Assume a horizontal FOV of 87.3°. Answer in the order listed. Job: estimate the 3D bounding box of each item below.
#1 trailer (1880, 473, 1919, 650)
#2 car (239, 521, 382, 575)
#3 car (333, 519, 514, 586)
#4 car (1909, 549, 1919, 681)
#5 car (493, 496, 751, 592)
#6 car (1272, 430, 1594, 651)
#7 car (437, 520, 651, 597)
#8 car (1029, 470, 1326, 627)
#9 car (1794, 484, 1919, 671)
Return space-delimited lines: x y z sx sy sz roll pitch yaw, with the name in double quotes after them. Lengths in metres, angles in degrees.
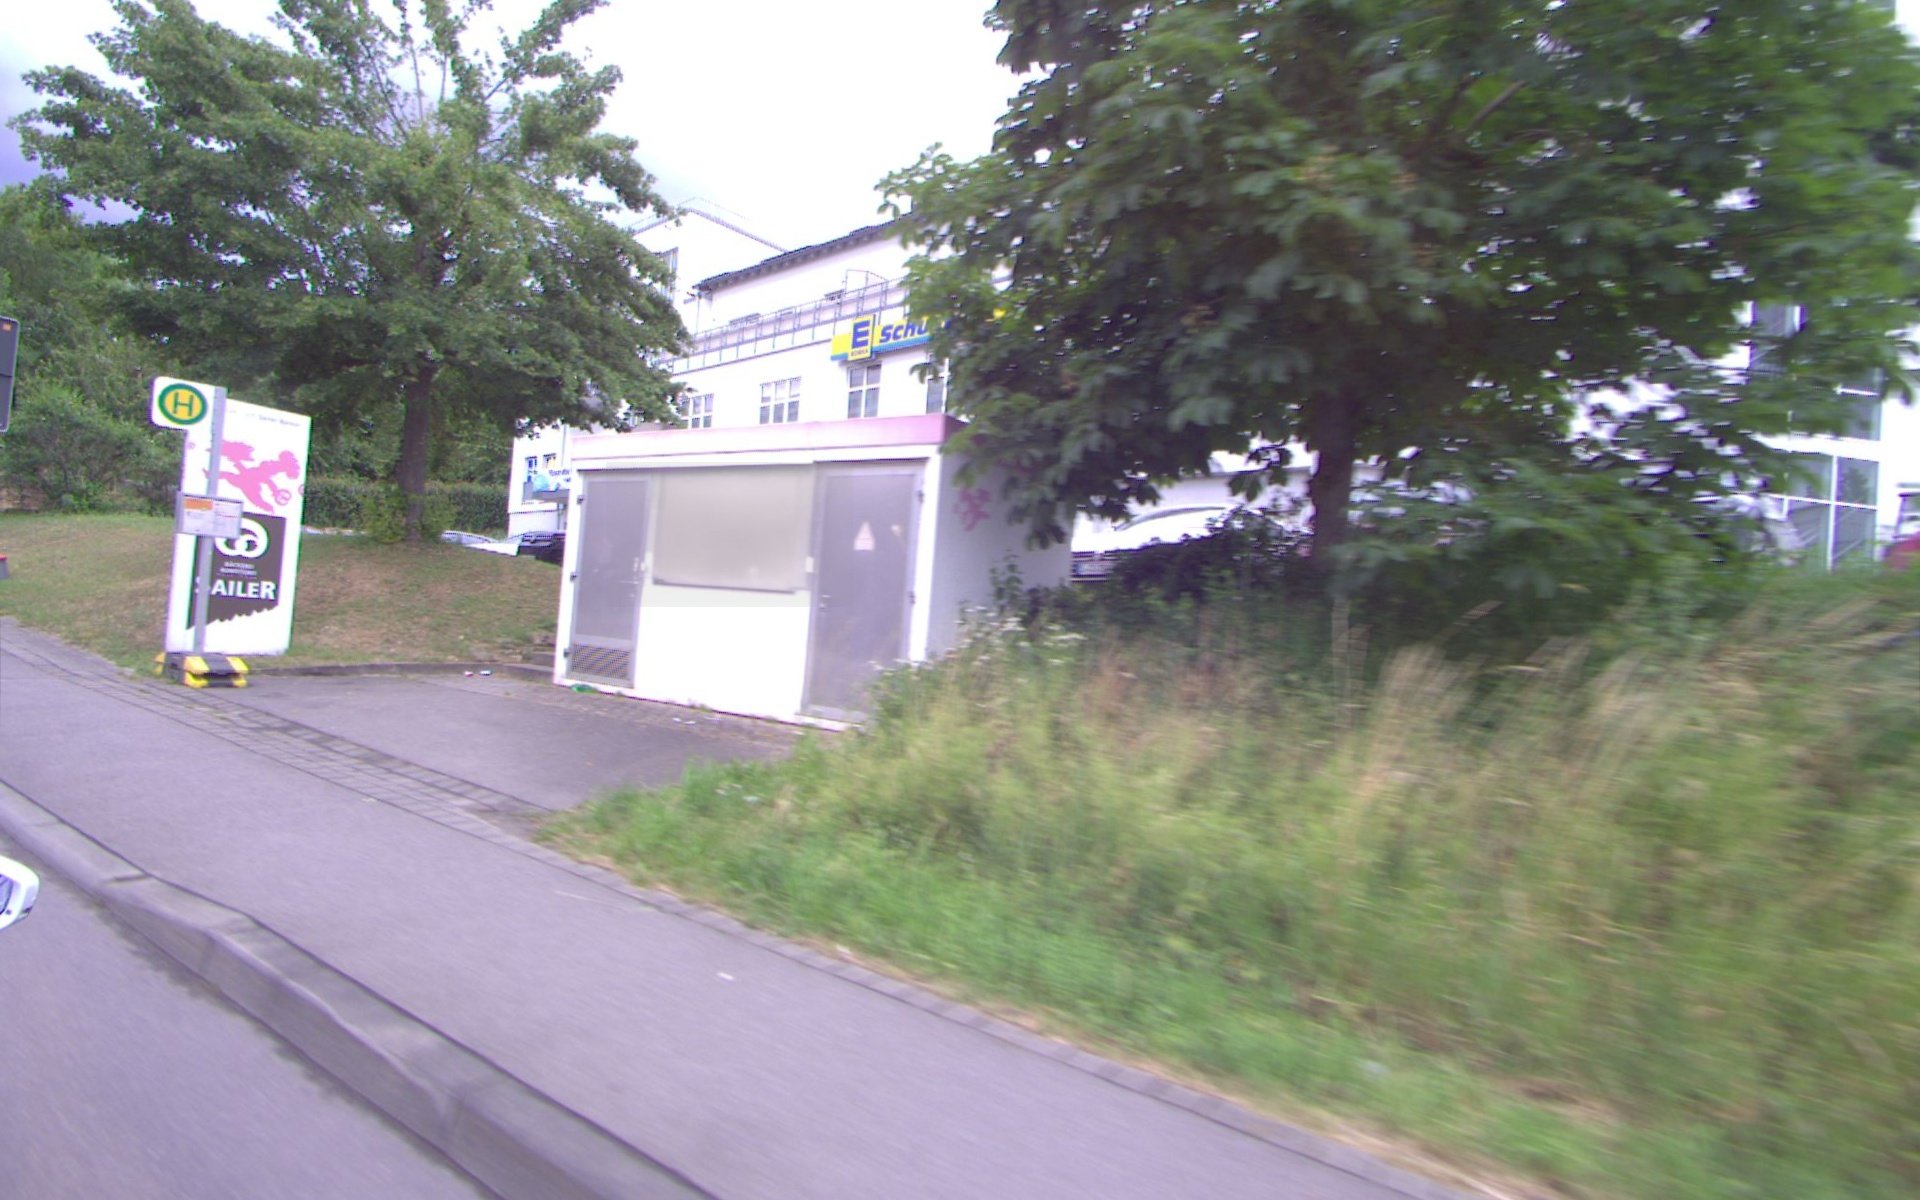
20.238 -0.382 17.695 6.384 3.089 2.469 7 -3 -10 "trailer"
-24.864 -1.978 38.608 1.737 1.467 4.231 6 -2 44 "car"
-14.397 -1.250 27.173 1.809 1.369 3.869 4 -2 38 "car"
13.069 0.159 10.532 1.798 1.656 4.516 6 -3 -2 "car"
-6.016 -0.948 18.287 1.885 1.247 4.033 3 -2 39 "car"
5.569 -0.504 11.517 4.488 1.656 1.809 10 -4 -44 "car"
-8.999 -0.872 21.992 1.844 1.247 3.868 3 -2 39 "car"
2.959 -0.525 12.794 1.691 1.397 4.690 4 -2 39 "car"
9.963 -0.250 8.714 1.796 1.656 4.519 6 -3 3 "car"
